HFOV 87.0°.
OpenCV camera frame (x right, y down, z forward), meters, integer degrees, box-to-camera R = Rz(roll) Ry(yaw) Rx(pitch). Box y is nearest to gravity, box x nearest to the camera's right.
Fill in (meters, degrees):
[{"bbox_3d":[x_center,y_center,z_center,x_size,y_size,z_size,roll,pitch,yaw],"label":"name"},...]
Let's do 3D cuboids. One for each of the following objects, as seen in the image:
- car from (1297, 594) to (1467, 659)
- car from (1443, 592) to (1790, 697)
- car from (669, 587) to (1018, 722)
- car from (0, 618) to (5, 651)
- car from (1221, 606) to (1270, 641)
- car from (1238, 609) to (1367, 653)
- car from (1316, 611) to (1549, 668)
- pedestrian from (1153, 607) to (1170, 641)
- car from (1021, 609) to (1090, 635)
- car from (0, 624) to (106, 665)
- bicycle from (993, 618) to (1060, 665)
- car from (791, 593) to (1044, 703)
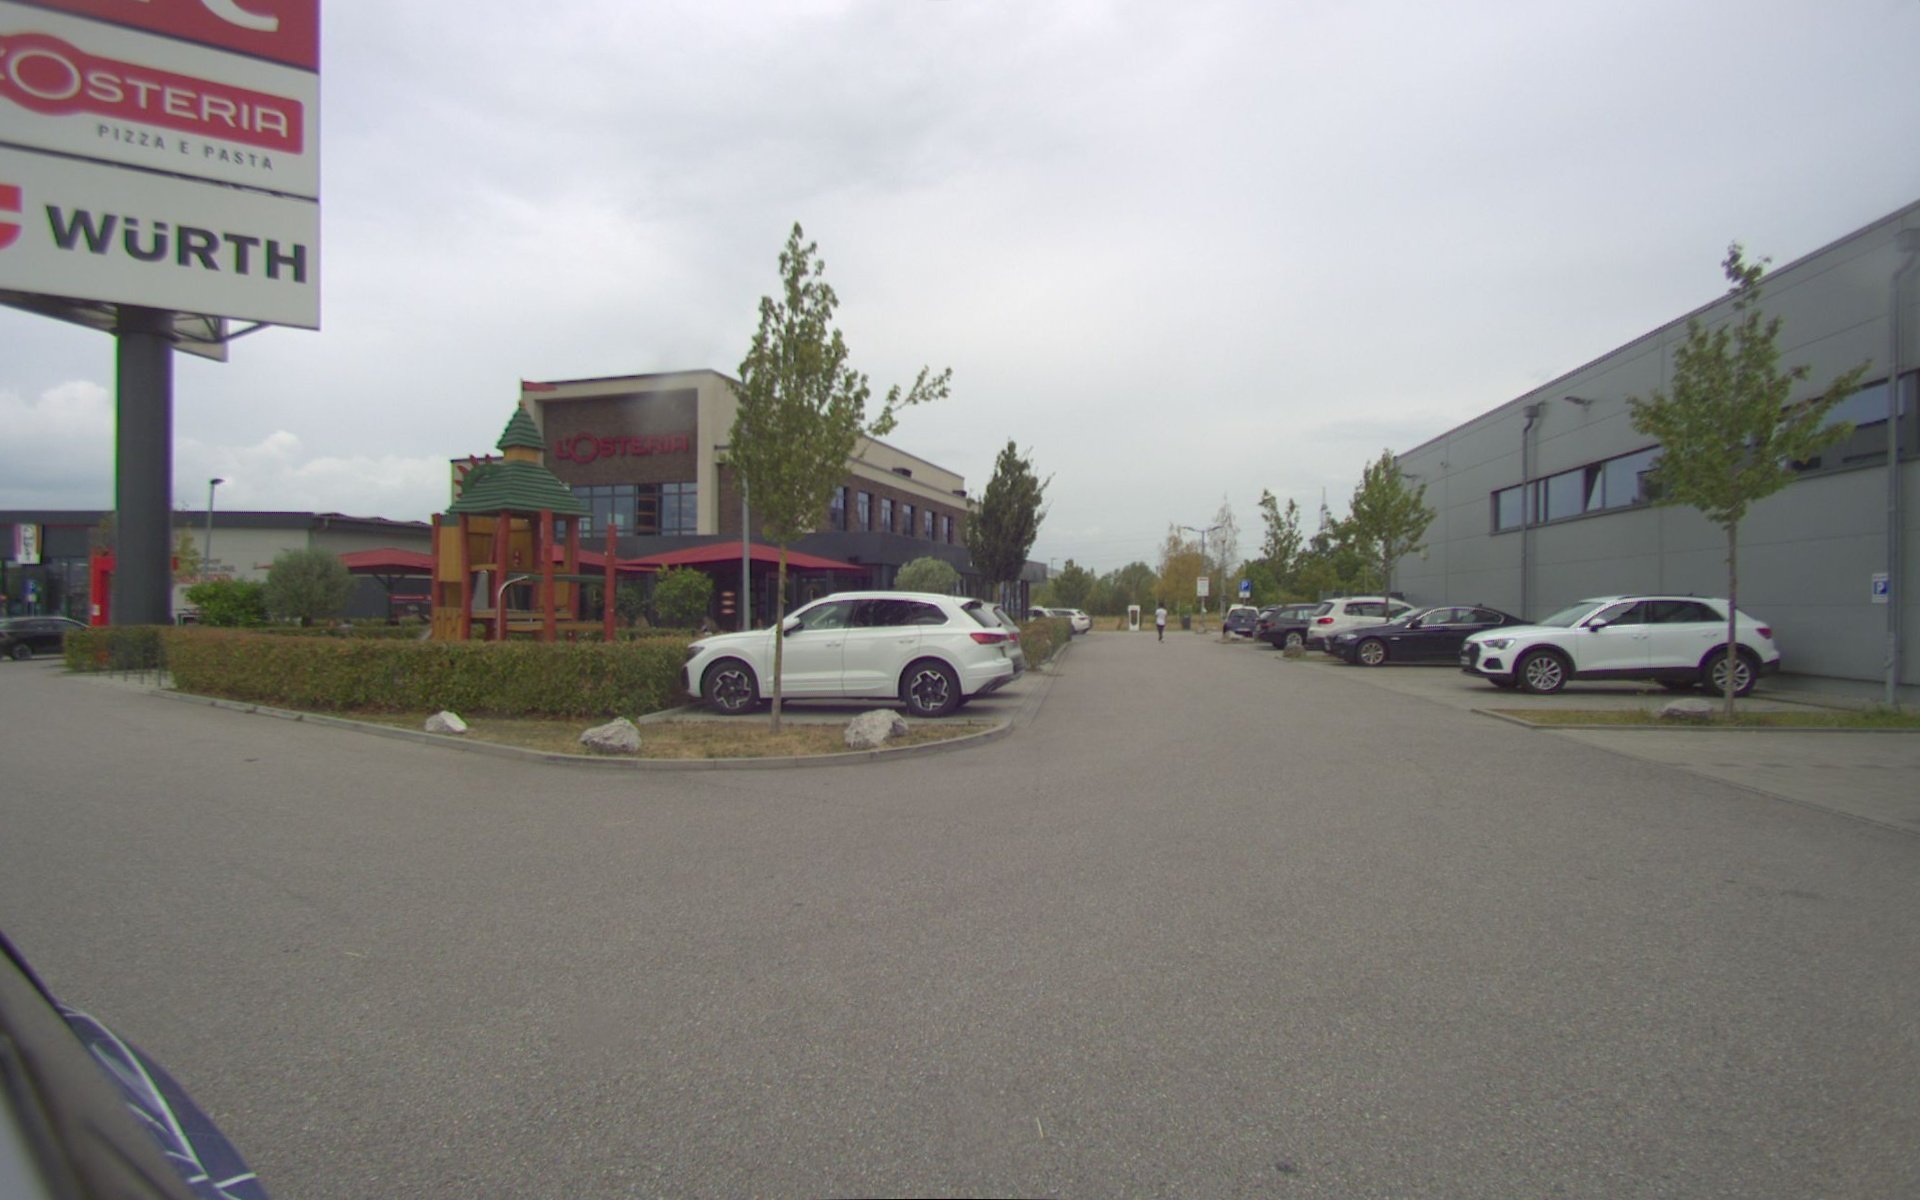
[{"bbox_3d":[11.733,0.733,28.372,3.949,1.719,1.997,-1,0,5],"label":"car"},{"bbox_3d":[10.512,0.703,16.549,4.366,1.567,1.752,-1,-1,11],"label":"car"},{"bbox_3d":[-1.601,0.745,14.520,4.691,1.762,1.752,-1,-1,11],"label":"car"},{"bbox_3d":[-55.128,1.962,55.206,1.988,1.851,3.968,-1,0,24],"label":"car"},{"bbox_3d":[12.327,0.993,43.508,1.798,1.453,3.974,-1,-1,19],"label":"car"},{"bbox_3d":[11.262,0.998,33.471,3.661,1.354,1.775,-1,0,2],"label":"car"},{"bbox_3d":[11.095,0.922,24.105,4.692,1.271,1.752,-1,-1,11],"label":"car"},{"bbox_3d":[8.406,1.005,42.235,0.690,1.387,0.703,-1,-1,13],"label":"pedestrian"},{"bbox_3d":[5.273,1.219,56.288,3.661,1.354,1.775,-1,0,2],"label":"car"},{"bbox_3d":[-33.459,1.587,36.798,1.489,1.305,3.420,-1,0,20],"label":"car"},{"bbox_3d":[1.810,1.118,27.568,1.777,1.228,0.693,-1,0,2],"label":"bicycle"},{"bbox_3d":[-0.648,0.766,17.085,3.957,1.719,1.904,-1,0,11],"label":"car"}]
